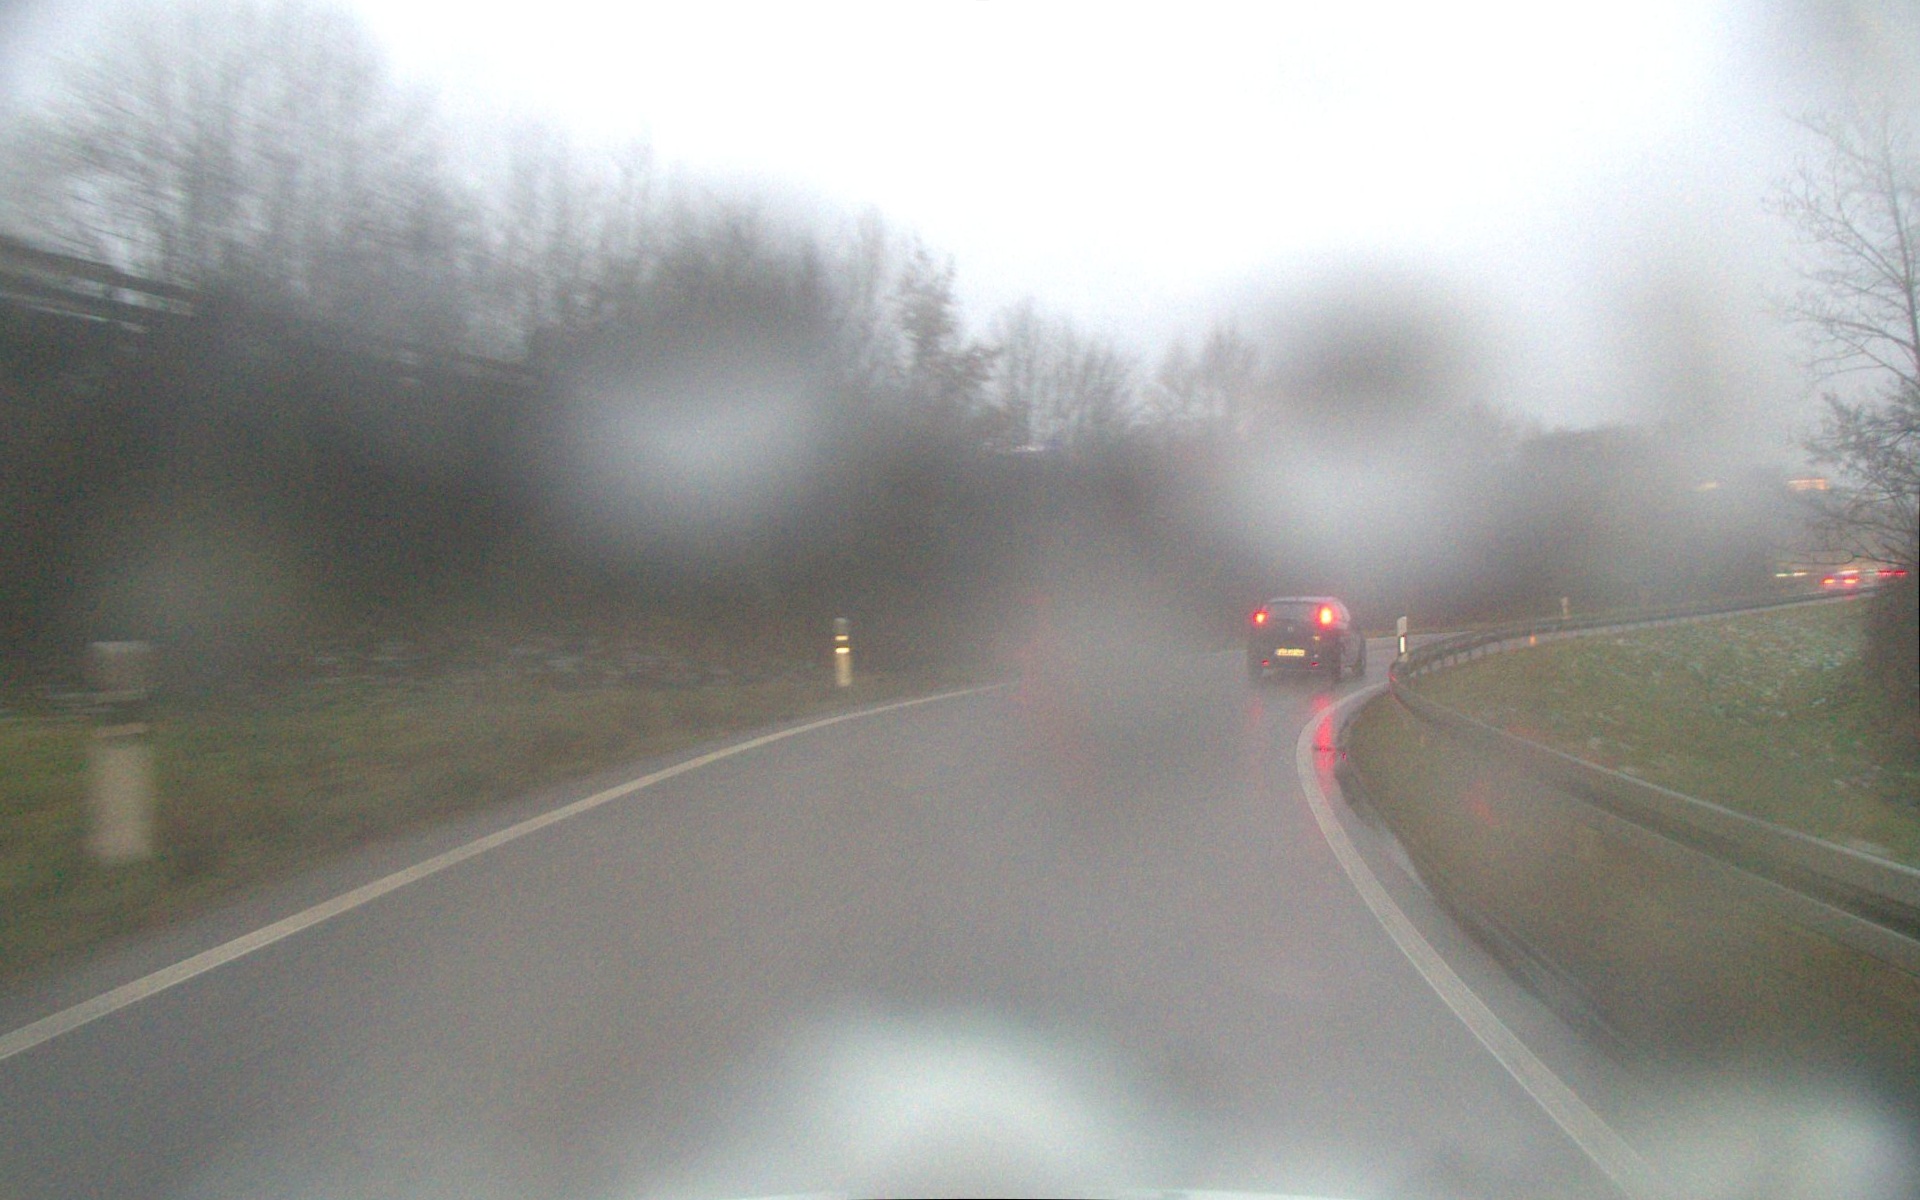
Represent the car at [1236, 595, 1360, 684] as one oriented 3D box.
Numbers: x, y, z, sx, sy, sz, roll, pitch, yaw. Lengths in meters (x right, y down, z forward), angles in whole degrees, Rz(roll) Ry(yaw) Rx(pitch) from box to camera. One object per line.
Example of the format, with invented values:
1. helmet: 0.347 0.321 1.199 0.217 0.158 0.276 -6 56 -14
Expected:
1. car: 6.282 0.677 30.441 1.696 1.454 3.766 3 1 19
